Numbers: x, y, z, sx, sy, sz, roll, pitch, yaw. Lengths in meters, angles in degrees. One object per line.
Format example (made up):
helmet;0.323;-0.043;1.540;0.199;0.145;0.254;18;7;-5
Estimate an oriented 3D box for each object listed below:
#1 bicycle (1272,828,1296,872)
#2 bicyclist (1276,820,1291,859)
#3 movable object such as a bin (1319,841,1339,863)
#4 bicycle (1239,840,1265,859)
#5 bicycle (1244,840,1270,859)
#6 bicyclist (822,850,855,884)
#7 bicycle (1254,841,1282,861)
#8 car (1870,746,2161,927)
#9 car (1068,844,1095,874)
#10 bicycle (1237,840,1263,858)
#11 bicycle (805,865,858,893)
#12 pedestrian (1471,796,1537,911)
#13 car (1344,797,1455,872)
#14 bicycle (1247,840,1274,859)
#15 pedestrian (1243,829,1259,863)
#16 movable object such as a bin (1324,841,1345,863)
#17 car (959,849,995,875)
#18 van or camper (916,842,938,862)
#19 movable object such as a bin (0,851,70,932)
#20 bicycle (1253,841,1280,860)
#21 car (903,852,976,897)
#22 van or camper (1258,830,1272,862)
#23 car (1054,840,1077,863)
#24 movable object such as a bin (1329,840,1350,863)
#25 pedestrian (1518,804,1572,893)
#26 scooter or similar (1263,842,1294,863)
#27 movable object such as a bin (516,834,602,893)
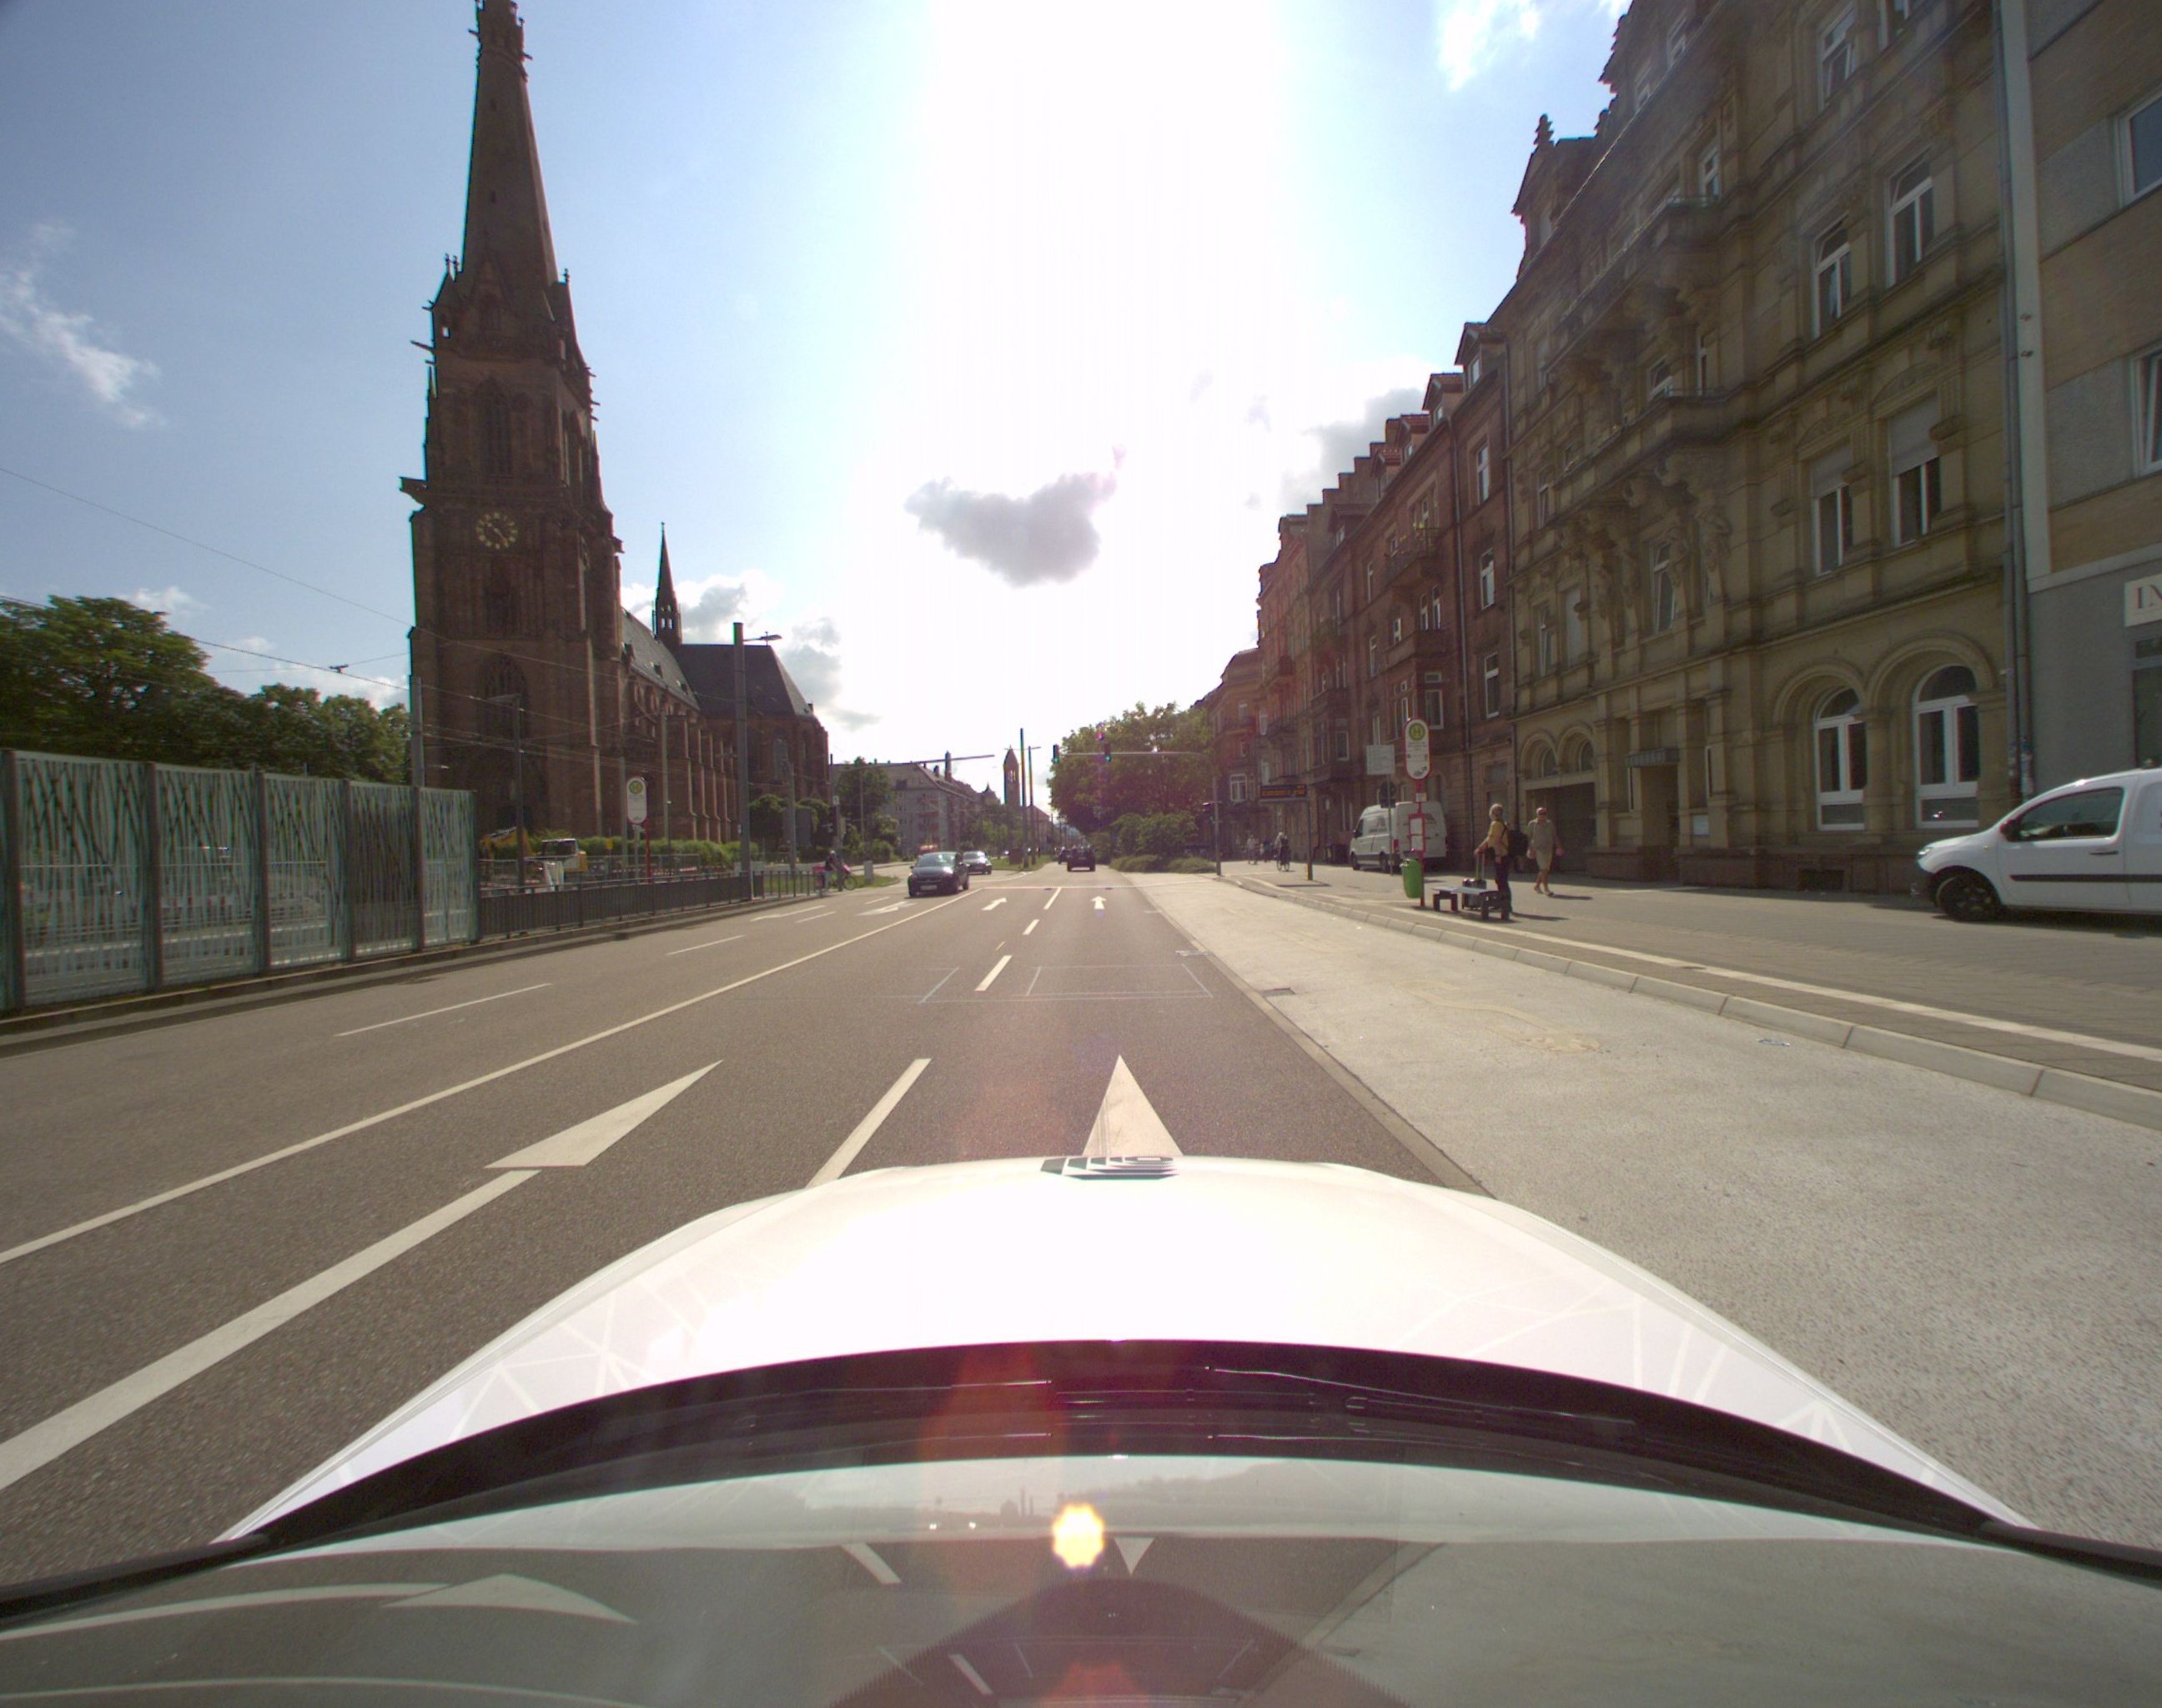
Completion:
bicycle;9.148;-0.194;36.759;0.681;1.925;1.590;-3;0;2
bicyclist;9.120;-0.668;36.741;0.426;1.718;0.828;-2;1;2
movable object such as a bin;13.155;-0.107;43.166;0.783;1.107;0.776;-2;0;-1
bicycle;12.420;-0.341;59.275;1.761;1.267;0.467;-2;2;4
bicycle;12.438;-0.288;57.633;1.761;1.267;0.467;-2;2;4
bicyclist;-10.688;0.567;35.875;1.082;1.436;0.827;-2;0;10
bicycle;12.614;-0.218;54.848;1.761;1.267;0.467;-2;2;4
car;12.039;-0.214;8.904;1.990;1.862;4.745;-2;0;-5
car;0.036;0.307;54.345;1.684;1.711;3.608;-2;3;-1
bicycle;12.447;-0.360;59.958;1.761;1.267;0.467;-2;2;4
bicycle;-10.988;1.077;35.889;2.005;1.126;0.934;-2;0;11
pedestrian;7.288;-0.014;14.051;0.664;1.903;0.690;-3;0;-18
car;11.972;-0.724;31.134;1.986;2.525;5.889;-2;1;1
bicycle;12.501;-0.301;56.829;1.761;1.267;0.467;-2;2;4
pedestrian;10.419;-0.495;49.952;0.765;2.013;0.715;-3;0;1
movable object such as a bin;13.159;-0.118;42.271;0.783;1.107;0.776;-2;0;-1
car;-6.776;0.516;53.408;1.813;1.552;4.557;-2;0;-2
van or camper;-22.816;-0.307;121.067;2.251;2.737;6.196;-2;0;-3
movable object such as a bin;-41.326;1.450;29.981;5.132;2.911;1.995;-2;0;-7
bicycle;12.595;-0.247;55.379;1.738;1.267;0.467;-2;2;4
car;-4.965;0.669;29.061;1.909;1.417;3.741;-2;0;0
van or camper;11.712;-0.528;51.865;0.664;2.013;0.638;-3;0;1
car;-1.497;-0.268;77.502;1.988;2.013;3.997;-3;0;-2
movable object such as a bin;13.163;-0.128;41.515;0.783;1.107;0.776;-2;0;-1
pedestrian;9.991;-0.118;17.545;0.662;1.836;0.693;-3;0;-6
scooter or similar;12.647;-0.091;52.123;1.763;1.185;0.466;-4;0;0
movable object such as a bin;-30.260;0.487;47.374;1.984;3.105;4.007;-2;3;5
